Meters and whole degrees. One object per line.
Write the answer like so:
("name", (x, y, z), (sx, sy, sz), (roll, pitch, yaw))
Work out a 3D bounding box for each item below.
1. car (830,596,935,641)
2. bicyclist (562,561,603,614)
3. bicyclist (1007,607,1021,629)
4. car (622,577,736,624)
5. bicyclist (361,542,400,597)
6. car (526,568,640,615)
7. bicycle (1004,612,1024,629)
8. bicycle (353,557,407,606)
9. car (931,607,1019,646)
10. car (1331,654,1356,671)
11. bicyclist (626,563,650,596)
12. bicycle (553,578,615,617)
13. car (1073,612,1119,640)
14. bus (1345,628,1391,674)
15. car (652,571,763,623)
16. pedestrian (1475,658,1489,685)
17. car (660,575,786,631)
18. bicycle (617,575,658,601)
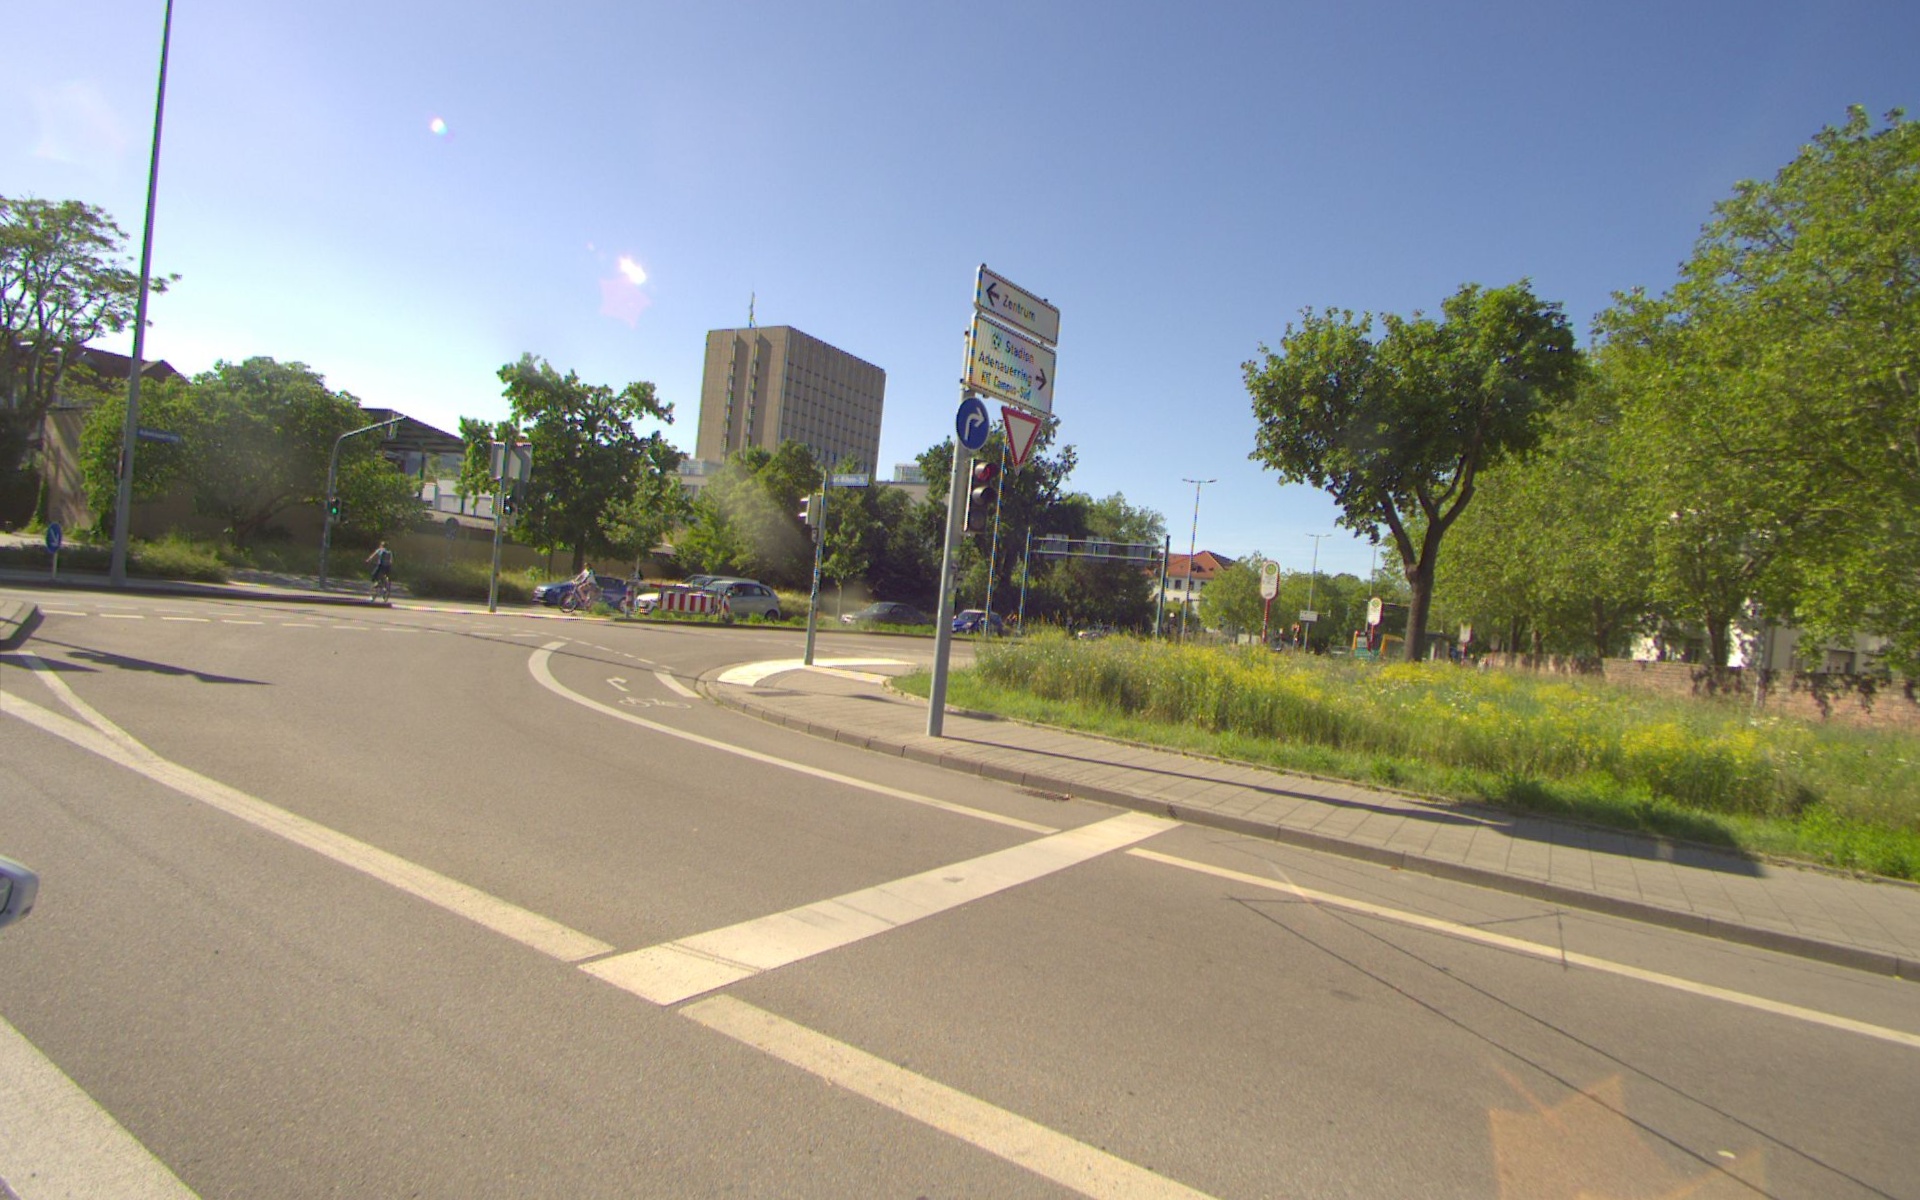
("car", (-3.322, 0.836, 43.900), (1.953, 1.573, 4.709), (4, -2, 35))
("bicyclist", (-12.966, -0.413, 34.584), (0.734, 1.707, 0.974), (7, 2, 33))
("bicyclist", (4.189, 1.401, 77.709), (0.632, 1.666, 0.775), (6, 1, 30))
("car", (-11.377, 0.045, 40.963), (1.971, 1.487, 3.982), (6, 0, 40))
("bicyclist", (-16.633, -0.878, 28.892), (0.765, 1.463, 0.640), (8, 3, 39))
("car", (-15.182, -0.319, 40.651), (1.679, 1.459, 3.988), (4, -2, 35))
("bicycle", (4.178, 1.579, 77.717), (0.632, 1.179, 1.867), (6, 0, 29))
("bicycle", (-16.669, -0.531, 28.904), (1.842, 1.180, 0.640), (8, 3, 38))
("car", (0.806, 1.358, 49.963), (1.953, 1.573, 4.709), (4, -2, 35))
("car", (49.000, 7.985, 128.520), (1.909, 1.976, 4.519), (4, -1, 34))
("bicyclist", (-16.435, -1.044, 51.346), (0.621, 1.617, 0.830), (9, 3, 32))
("bicycle", (-12.945, -0.073, 34.677), (0.736, 1.180, 1.864), (6, 1, 33))
("car", (10.722, 2.080, 79.261), (1.907, 1.821, 4.352), (5, -1, 31))
("bus", (34.879, 4.389, 85.917), (2.935, 3.310, 6.255), (6, -2, 26))
("car", (-11.538, -0.102, 46.290), (1.909, 1.976, 4.742), (4, -1, 35))
("pedestrian", (33.550, 4.596, 64.666), (0.642, 1.630, 0.558), (6, -1, 30))
("car", (-8.545, 0.146, 36.678), (1.762, 1.644, 4.303), (4, -1, 35))
("bicycle", (-16.461, -0.611, 51.422), (0.632, 1.180, 1.952), (9, 2, 30))
